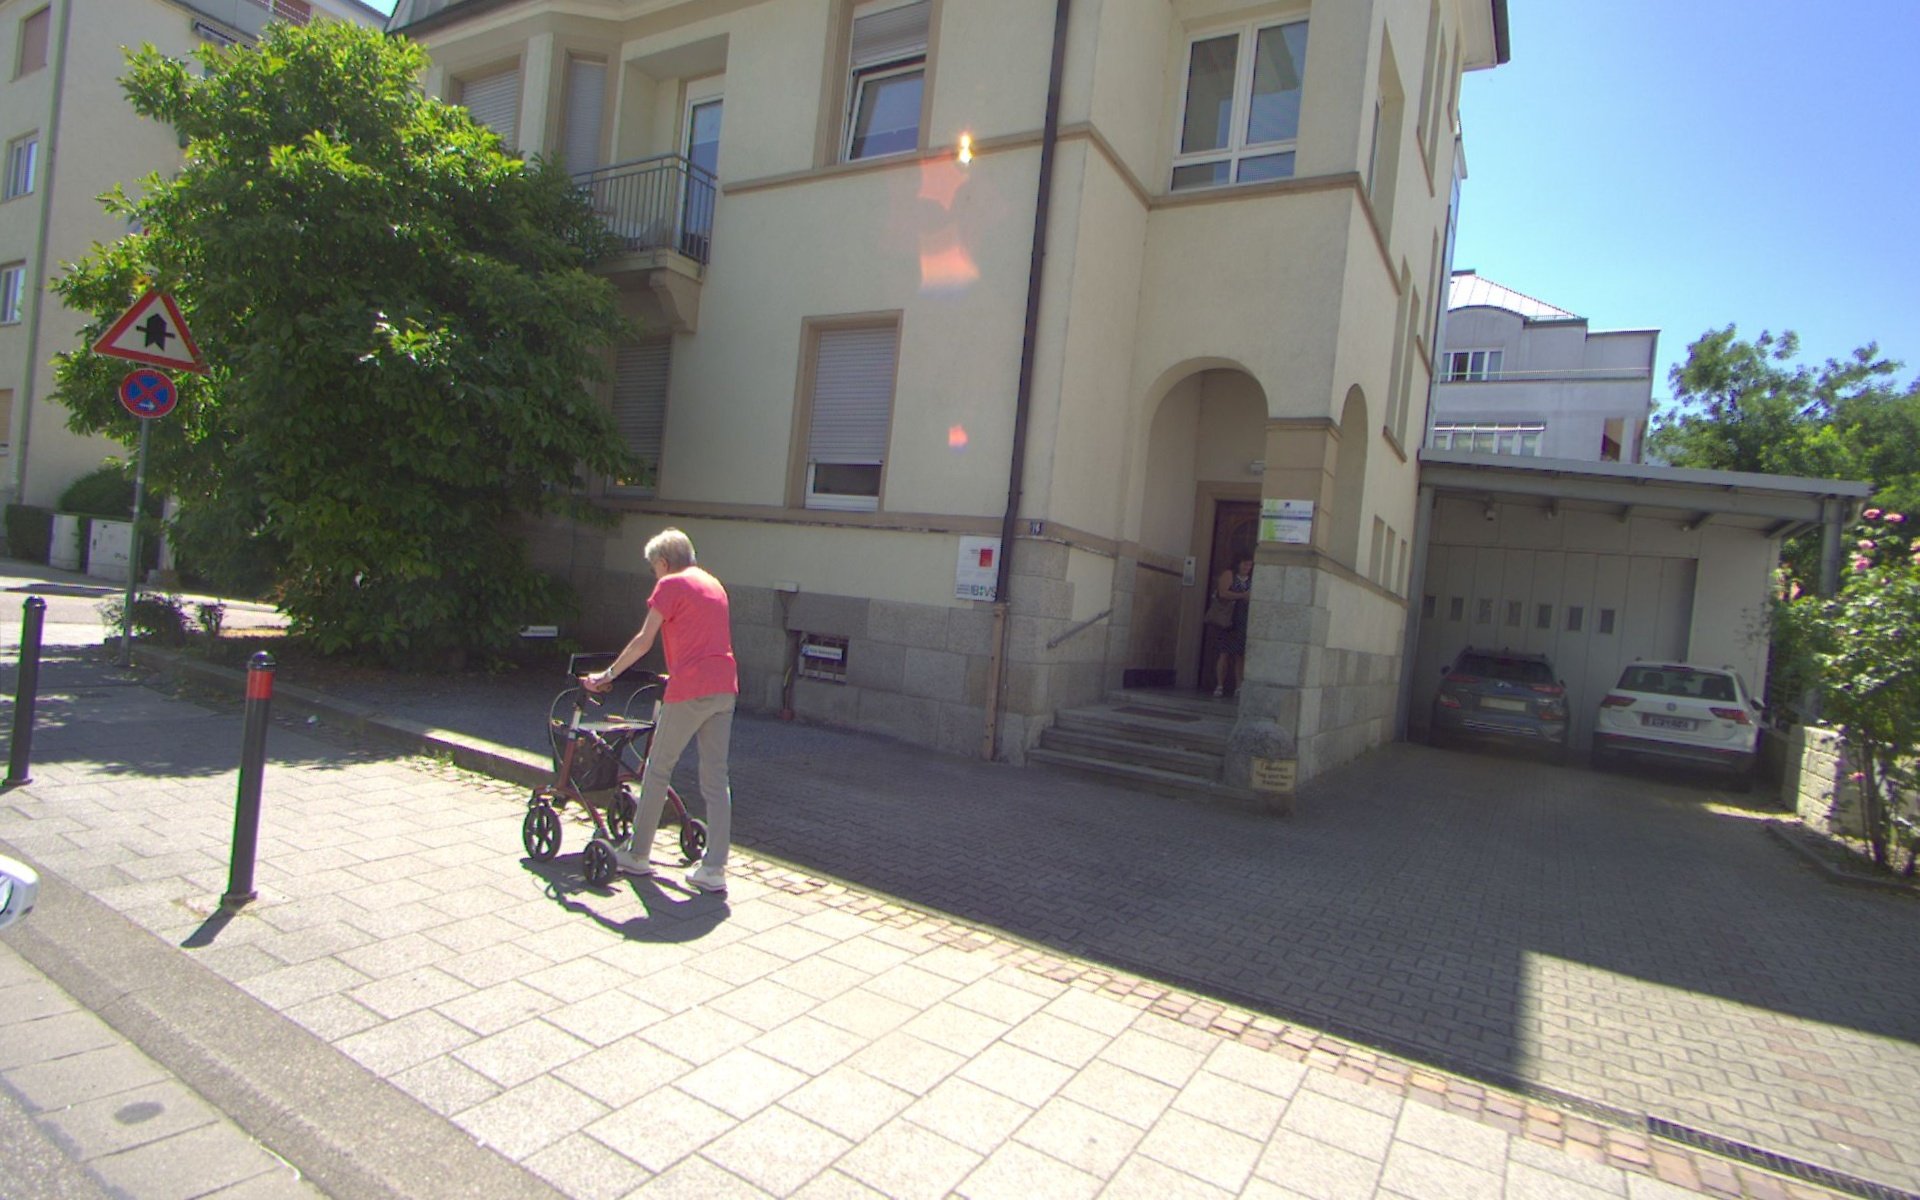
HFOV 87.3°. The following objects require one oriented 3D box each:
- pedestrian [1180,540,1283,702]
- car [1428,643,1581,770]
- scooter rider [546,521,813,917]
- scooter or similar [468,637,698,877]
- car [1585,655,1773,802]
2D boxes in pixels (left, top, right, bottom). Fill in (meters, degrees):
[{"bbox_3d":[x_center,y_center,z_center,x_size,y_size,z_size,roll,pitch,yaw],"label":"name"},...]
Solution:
[{"bbox_3d":[2.972,0.216,11.044,0.588,1.679,0.734,6,1,-27],"label":"pedestrian"},{"bbox_3d":[8.495,1.582,15.671,1.723,1.510,3.738,7,0,30],"label":"car"},{"bbox_3d":[-1.259,0.488,4.564,0.757,1.569,0.716,7,2,29],"label":"scooter rider"},{"bbox_3d":[-1.822,0.712,4.891,0.741,0.975,0.663,7,2,31],"label":"scooter or similar"},{"bbox_3d":[10.481,1.746,14.540,1.785,1.628,3.980,7,1,40],"label":"car"}]
